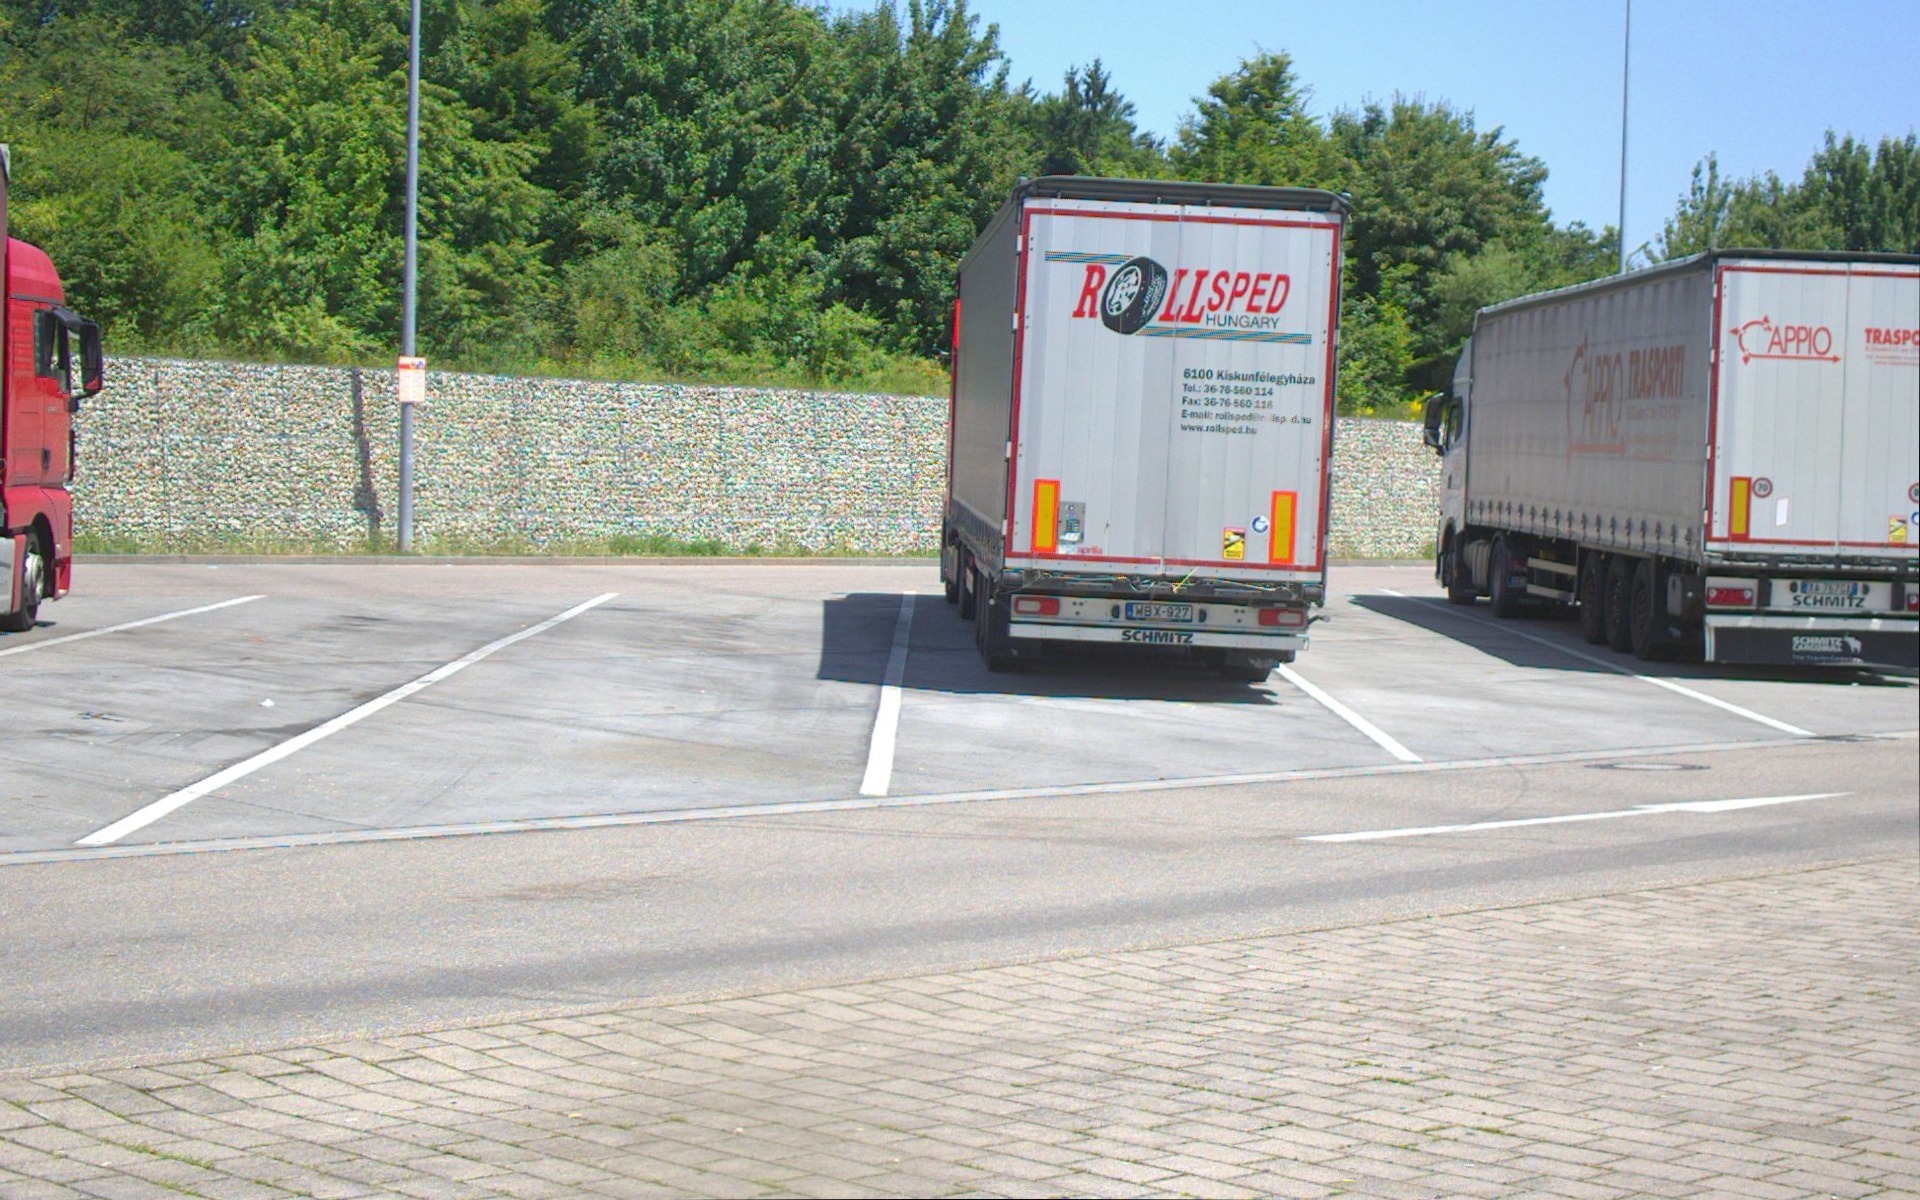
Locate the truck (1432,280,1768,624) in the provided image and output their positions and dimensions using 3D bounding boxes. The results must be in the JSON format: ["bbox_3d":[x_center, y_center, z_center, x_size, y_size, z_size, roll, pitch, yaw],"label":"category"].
[{"bbox_3d":[8.130,-1.958,44.590,2.866,4.023,6.957,2,3,0],"label":"truck"}]

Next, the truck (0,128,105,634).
[{"bbox_3d":[-9.142,-1.814,27.986,2.696,4.099,6.240,2,3,0],"label":"truck"}]

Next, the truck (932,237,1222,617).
[{"bbox_3d":[1.233,-2.061,40.704,2.866,4.023,7.028,2,3,-2],"label":"truck"}]

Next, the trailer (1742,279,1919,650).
[{"bbox_3d":[11.845,-1.536,39.027,2.866,4.023,12.439,2,3,0],"label":"trailer"}]

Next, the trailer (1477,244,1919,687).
[{"bbox_3d":[8.190,-1.575,37.963,2.866,4.023,12.439,2,3,0],"label":"trailer"}]

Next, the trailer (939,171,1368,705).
[{"bbox_3d":[1.445,-1.641,33.625,2.866,4.023,14.243,2,3,-2],"label":"trailer"}]

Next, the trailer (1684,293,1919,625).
[{"bbox_3d":[11.794,-1.890,45.444,2.866,4.023,6.571,2,3,0],"label":"trailer"}]
